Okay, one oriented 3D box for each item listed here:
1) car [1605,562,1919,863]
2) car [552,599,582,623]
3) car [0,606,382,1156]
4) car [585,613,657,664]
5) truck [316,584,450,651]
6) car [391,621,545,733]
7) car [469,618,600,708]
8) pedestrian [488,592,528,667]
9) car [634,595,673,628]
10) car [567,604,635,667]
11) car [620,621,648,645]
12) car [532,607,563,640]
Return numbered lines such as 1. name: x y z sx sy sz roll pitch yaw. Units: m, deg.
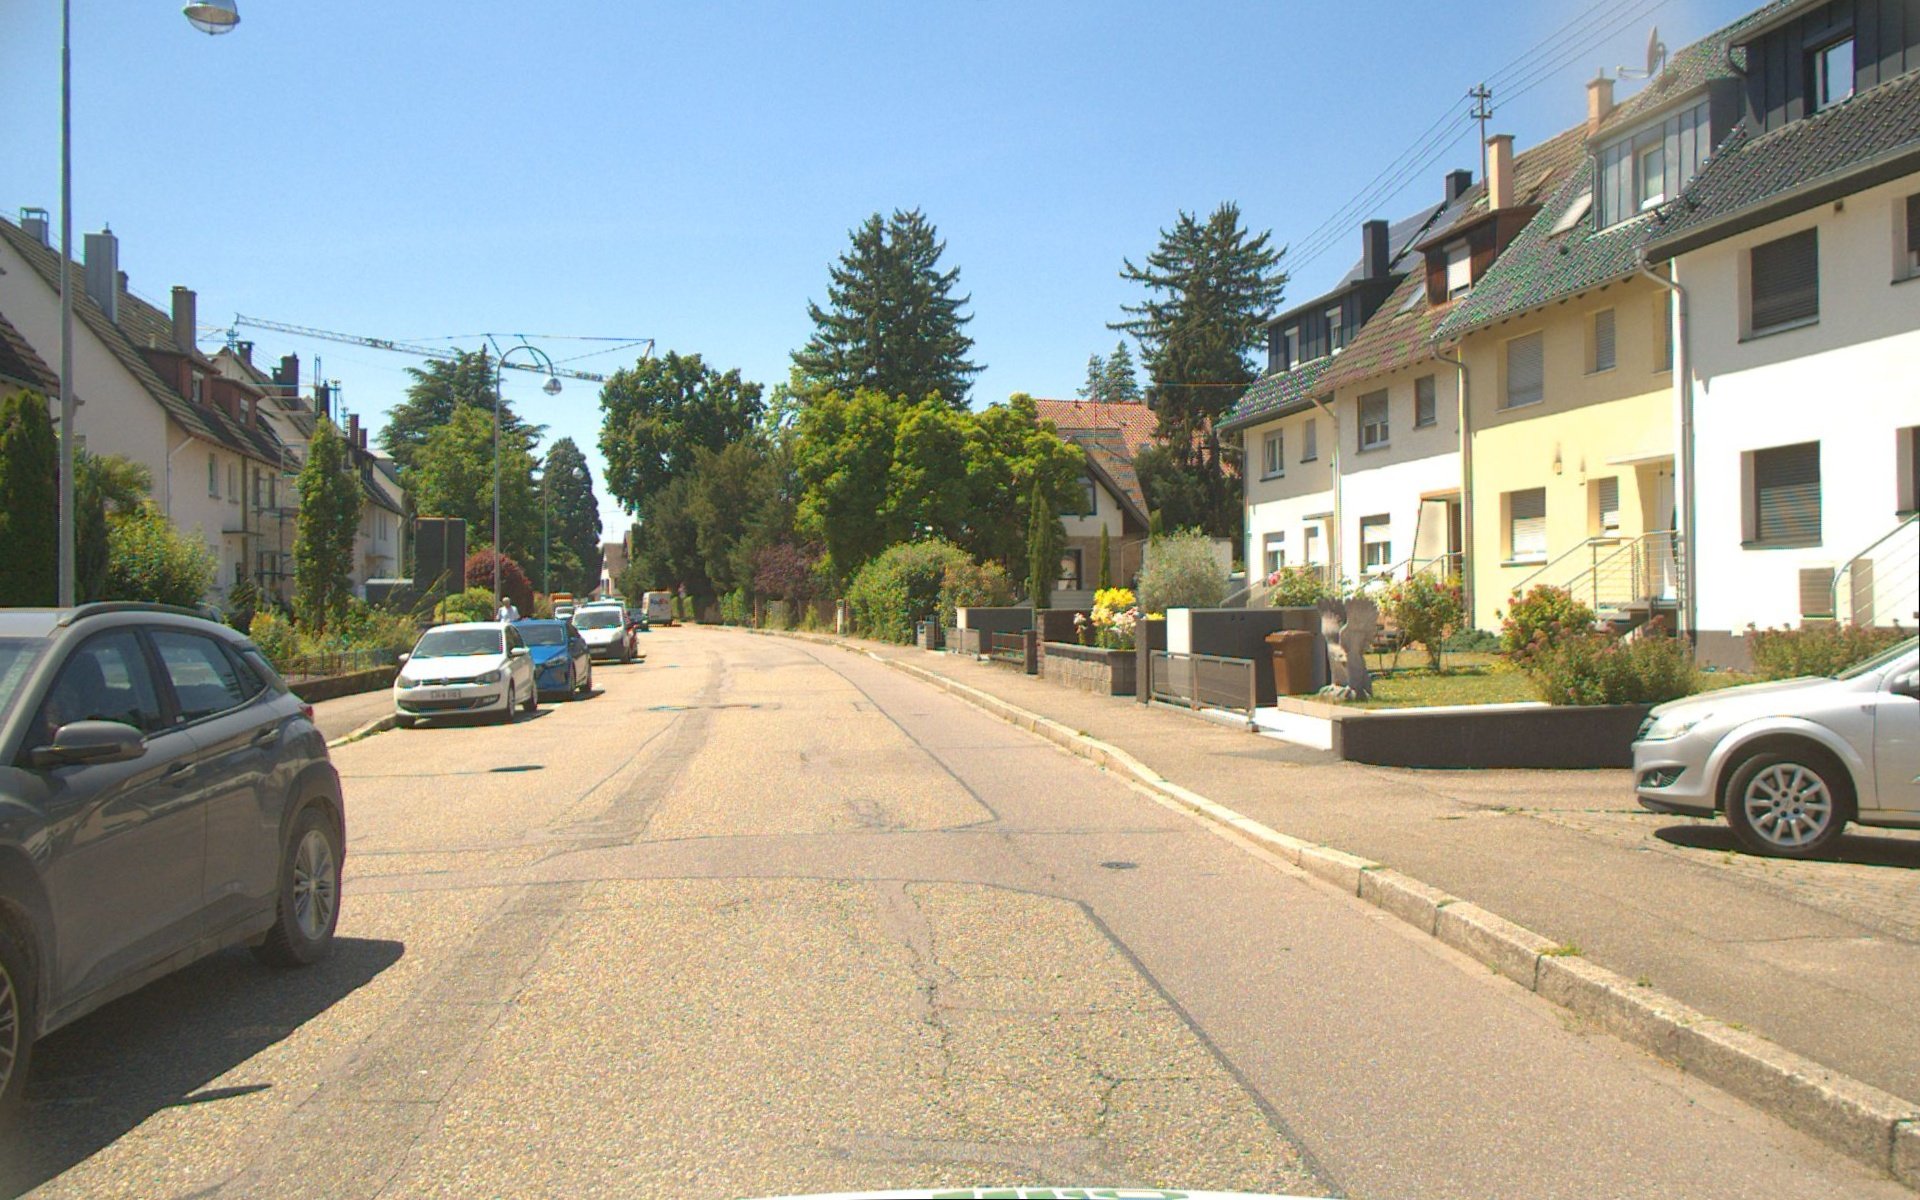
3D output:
1. car: 5.951 0.639 9.246 4.207 1.575 1.754 1 -2 27
2. car: -30.790 0.885 129.598 1.823 1.700 4.687 -3 0 -18
3. car: -3.582 0.828 5.776 1.705 1.531 4.141 -3 0 -2
4. car: -11.303 1.266 55.309 1.726 1.503 4.055 -3 0 -3
5. truck: -17.951 0.530 51.584 3.700 1.971 1.542 -1 0 -11
6. car: -7.458 1.113 25.391 1.548 1.448 3.935 -3 0 -7
7. car: -7.922 1.119 31.142 1.735 1.464 4.355 -3 0 -7
8. pedestrian: -12.045 0.786 44.086 0.676 1.922 1.018 4 -2 -3
9. car: -23.143 0.868 124.801 2.111 2.356 4.825 -2 0 -19
10. car: -10.862 1.052 50.262 1.691 1.766 3.879 -3 0 -9
11. car: -20.866 2.112 105.884 1.701 1.441 3.989 -2 0 -11
12. car: -23.507 1.309 94.170 1.621 1.782 4.336 -2 0 -15
